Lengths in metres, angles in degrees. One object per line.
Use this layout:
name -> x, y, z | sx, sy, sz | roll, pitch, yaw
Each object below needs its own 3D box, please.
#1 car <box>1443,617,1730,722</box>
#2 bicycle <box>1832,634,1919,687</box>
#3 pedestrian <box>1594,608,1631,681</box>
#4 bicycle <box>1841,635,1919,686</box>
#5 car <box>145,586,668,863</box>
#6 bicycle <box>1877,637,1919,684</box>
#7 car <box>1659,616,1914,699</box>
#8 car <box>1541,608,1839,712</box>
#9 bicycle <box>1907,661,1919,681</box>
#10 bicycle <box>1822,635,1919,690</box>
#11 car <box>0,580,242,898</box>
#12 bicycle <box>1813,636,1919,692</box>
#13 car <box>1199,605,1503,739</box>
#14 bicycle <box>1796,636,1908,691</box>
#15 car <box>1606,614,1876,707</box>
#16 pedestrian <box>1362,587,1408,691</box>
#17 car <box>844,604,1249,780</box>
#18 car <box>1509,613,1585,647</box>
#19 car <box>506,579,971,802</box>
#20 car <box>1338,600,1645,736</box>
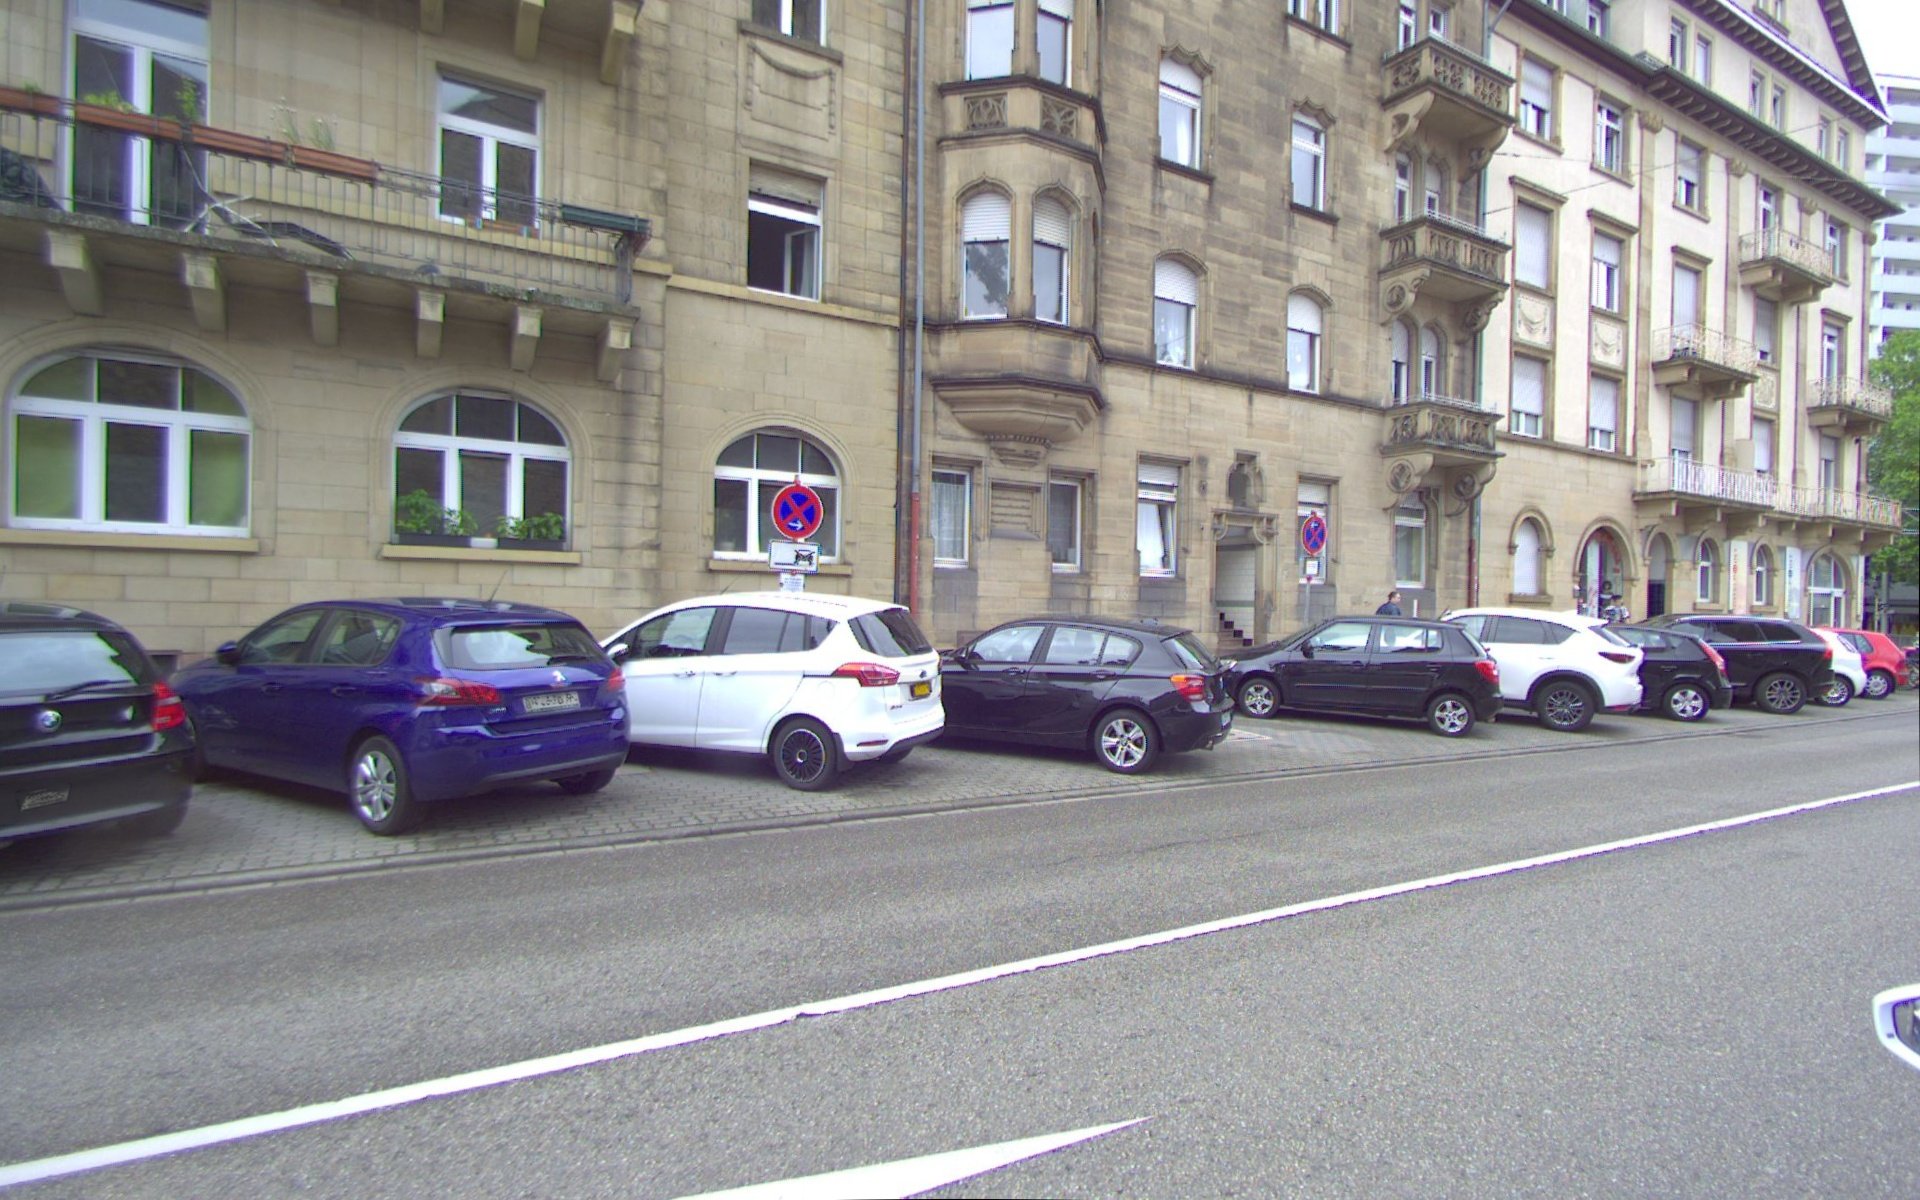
car -> 10.538, 1.112, 17.255 | 3.923, 1.514, 1.731 | 2, 0, 23
bicycle -> 22.645, 1.477, 24.555 | 0.437, 1.050, 1.876 | 1, 5, -31
pedestrian -> 16.356, 1.100, 25.189 | 0.544, 1.809, 0.564 | 1, 0, -29
bicycle -> 23.167, 1.509, 24.907 | 0.437, 1.050, 1.876 | 1, 5, -31
car -> -4.227, 0.716, 7.597 | 3.682, 1.465, 1.820 | 3, 2, 30
bicycle -> 23.903, 1.559, 24.691 | 0.437, 1.050, 1.876 | 1, 5, -31
car -> 17.896, 1.205, 21.943 | 3.919, 1.492, 1.684 | 2, 2, 12
car -> 13.454, 1.048, 18.819 | 4.141, 1.674, 1.732 | 2, 0, 18
bicycle -> 24.940, 1.884, 24.928 | 1.017, 0.451, 1.876 | 0, 6, -31
bicycle -> 22.090, 1.484, 24.206 | 0.437, 1.050, 1.876 | 1, 5, -31
car -> -6.371, 0.654, 6.092 | 3.927, 1.457, 1.730 | 3, 2, 28
bicycle -> 21.641, 1.490, 23.924 | 0.437, 1.050, 1.876 | 1, 5, -31
car -> 5.414, 0.929, 14.177 | 3.738, 1.517, 1.569 | 3, 1, 22
bicycle -> 20.904, 1.470, 23.592 | 0.436, 1.050, 1.879 | 1, 4, -26
car -> 15.587, 1.159, 20.287 | 3.920, 1.492, 1.564 | 3, 2, 18
pedestrian -> 8.347, 0.754, 19.731 | 0.544, 1.984, 0.616 | 1, 0, -29
car -> 0.908, 0.850, 10.694 | 3.924, 1.436, 1.660 | 3, 0, 25
car -> 15.687, 0.791, 26.830 | 1.991, 0.845, 0.909 | 2, 0, -31
car -> -2.061, 0.683, 9.352 | 3.922, 1.575, 1.702 | 3, 2, 22
car -> 8.124, 0.931, 15.471 | 3.935, 1.746, 1.835 | 2, 0, 36
